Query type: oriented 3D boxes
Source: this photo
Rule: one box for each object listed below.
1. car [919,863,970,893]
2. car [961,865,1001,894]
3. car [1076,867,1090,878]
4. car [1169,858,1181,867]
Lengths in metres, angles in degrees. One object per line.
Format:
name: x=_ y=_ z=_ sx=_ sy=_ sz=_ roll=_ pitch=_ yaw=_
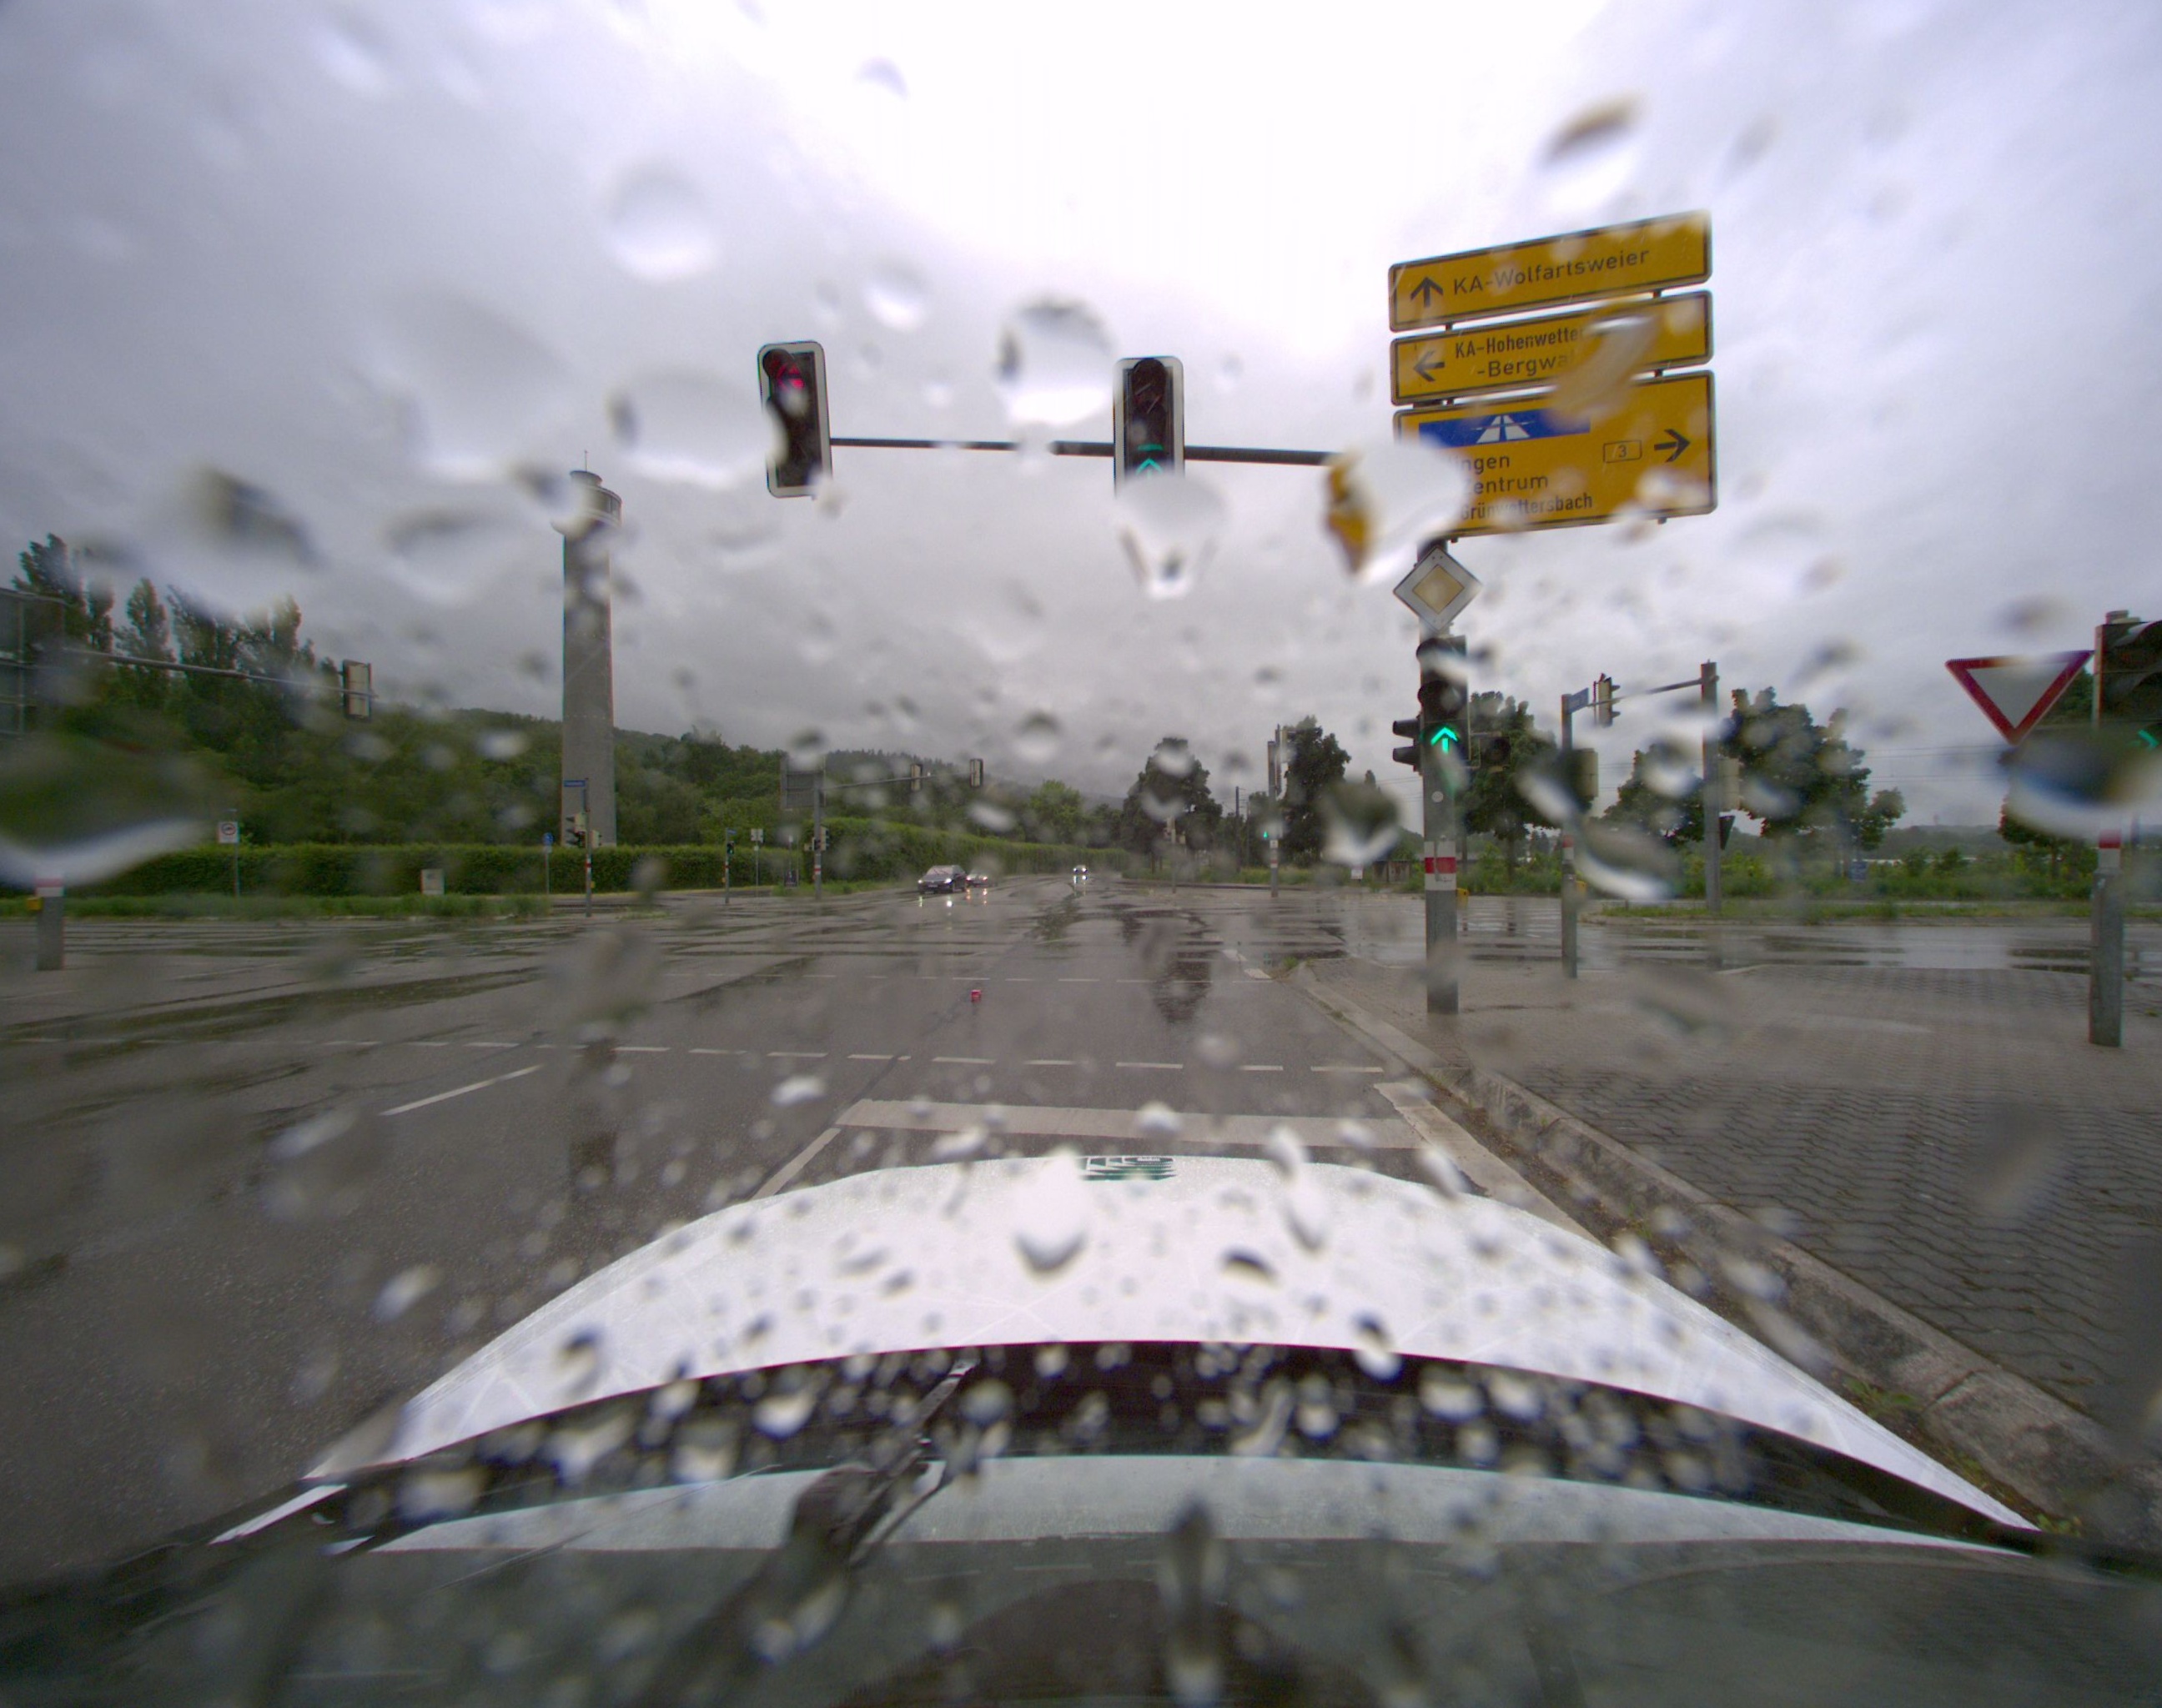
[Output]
car: x=-7.189 y=1.216 z=43.290 sx=1.701 sy=1.466 sz=4.457 roll=-1 pitch=0 yaw=3
car: x=-6.605 y=1.660 z=54.064 sx=2.029 sy=1.708 sz=4.067 roll=-1 pitch=0 yaw=2
car: x=0.280 y=2.620 z=117.124 sx=1.777 sy=1.505 sz=4.065 roll=1 pitch=-1 yaw=4
car: x=21.082 y=1.822 z=182.215 sx=1.939 sy=1.904 sz=4.137 roll=-1 pitch=0 yaw=15
